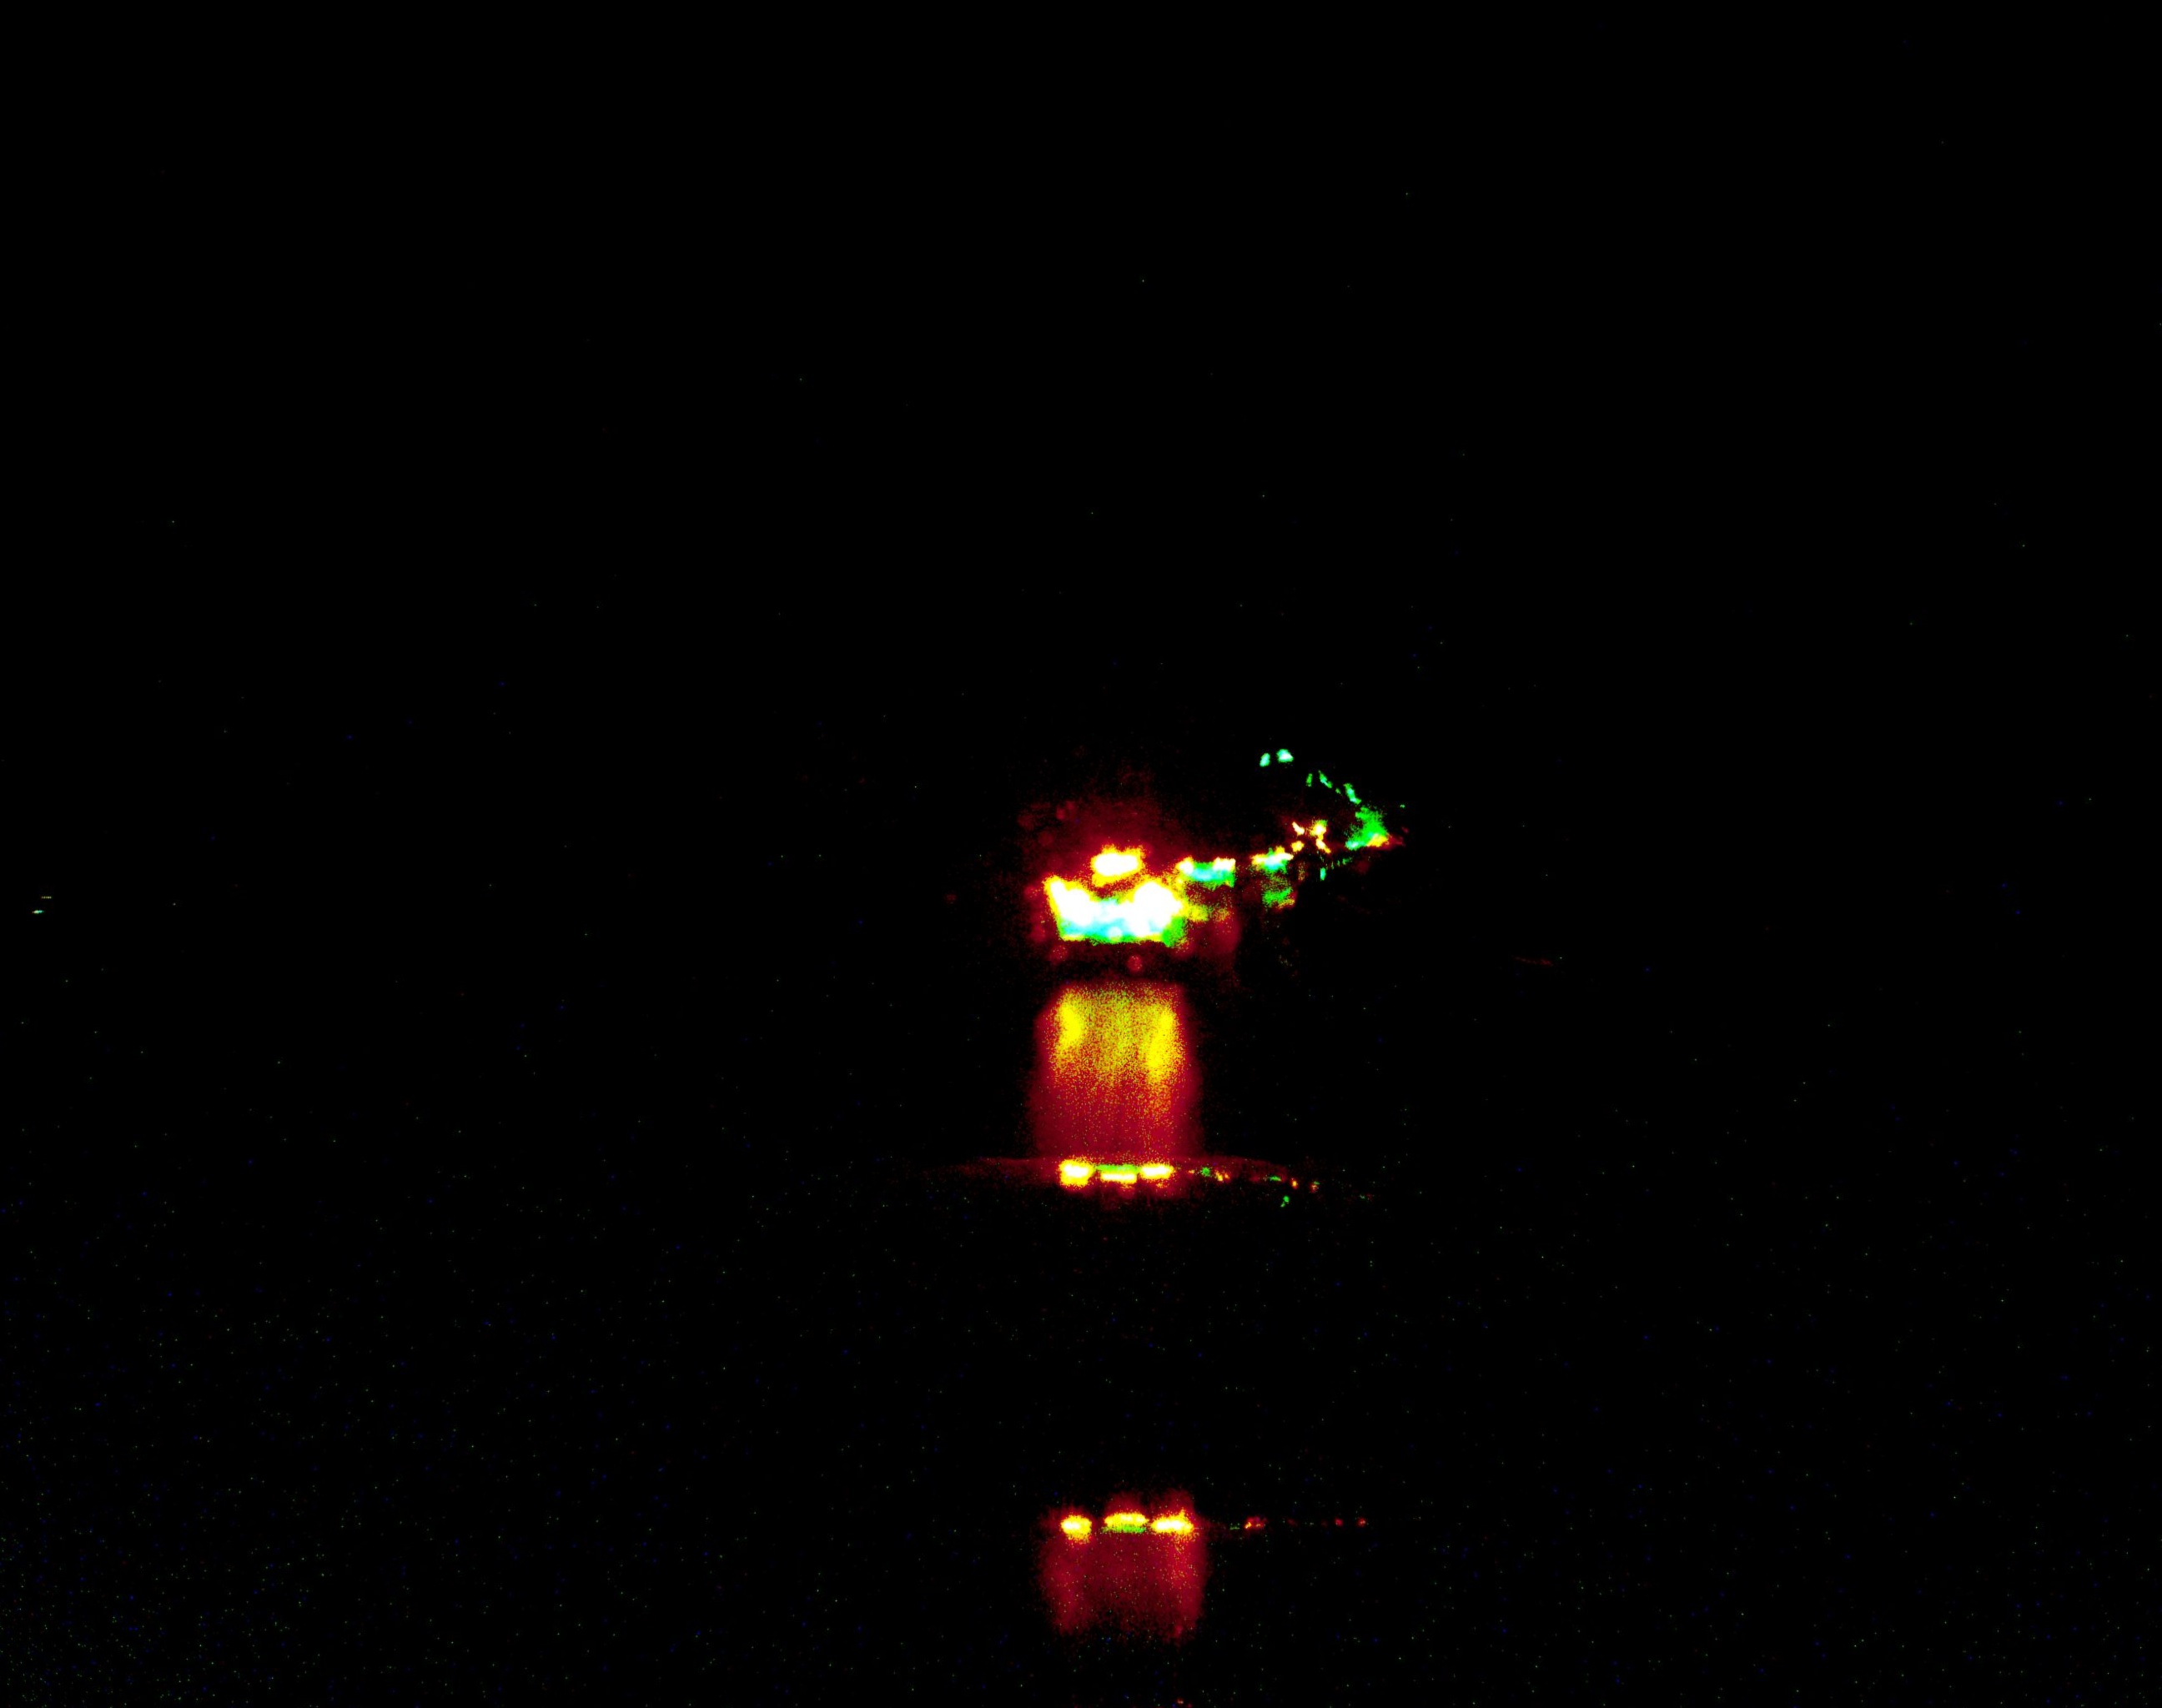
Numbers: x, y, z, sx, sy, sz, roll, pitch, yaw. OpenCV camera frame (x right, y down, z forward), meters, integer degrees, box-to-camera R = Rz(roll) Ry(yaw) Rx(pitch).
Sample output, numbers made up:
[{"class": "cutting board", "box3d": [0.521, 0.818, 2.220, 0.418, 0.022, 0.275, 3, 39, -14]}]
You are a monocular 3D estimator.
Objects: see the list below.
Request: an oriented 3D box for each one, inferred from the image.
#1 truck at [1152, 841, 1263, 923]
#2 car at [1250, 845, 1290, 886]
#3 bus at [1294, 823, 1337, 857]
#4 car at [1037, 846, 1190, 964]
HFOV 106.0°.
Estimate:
[{"class": "truck", "box3d": [4.715, 0.905, 29.003, 3.047, 2.528, 7.196, -1, -1, 16]}, {"class": "car", "box3d": [9.606, 0.556, 41.294, 1.823, 1.948, 4.015, -1, -1, 14]}, {"class": "bus", "box3d": [23.081, -1.412, 79.943, 2.719, 3.123, 9.254, -1, 1, 24]}, {"class": "car", "box3d": [0.663, 0.686, 12.613, 1.933, 1.491, 3.724, -2, 0, 8]}]
